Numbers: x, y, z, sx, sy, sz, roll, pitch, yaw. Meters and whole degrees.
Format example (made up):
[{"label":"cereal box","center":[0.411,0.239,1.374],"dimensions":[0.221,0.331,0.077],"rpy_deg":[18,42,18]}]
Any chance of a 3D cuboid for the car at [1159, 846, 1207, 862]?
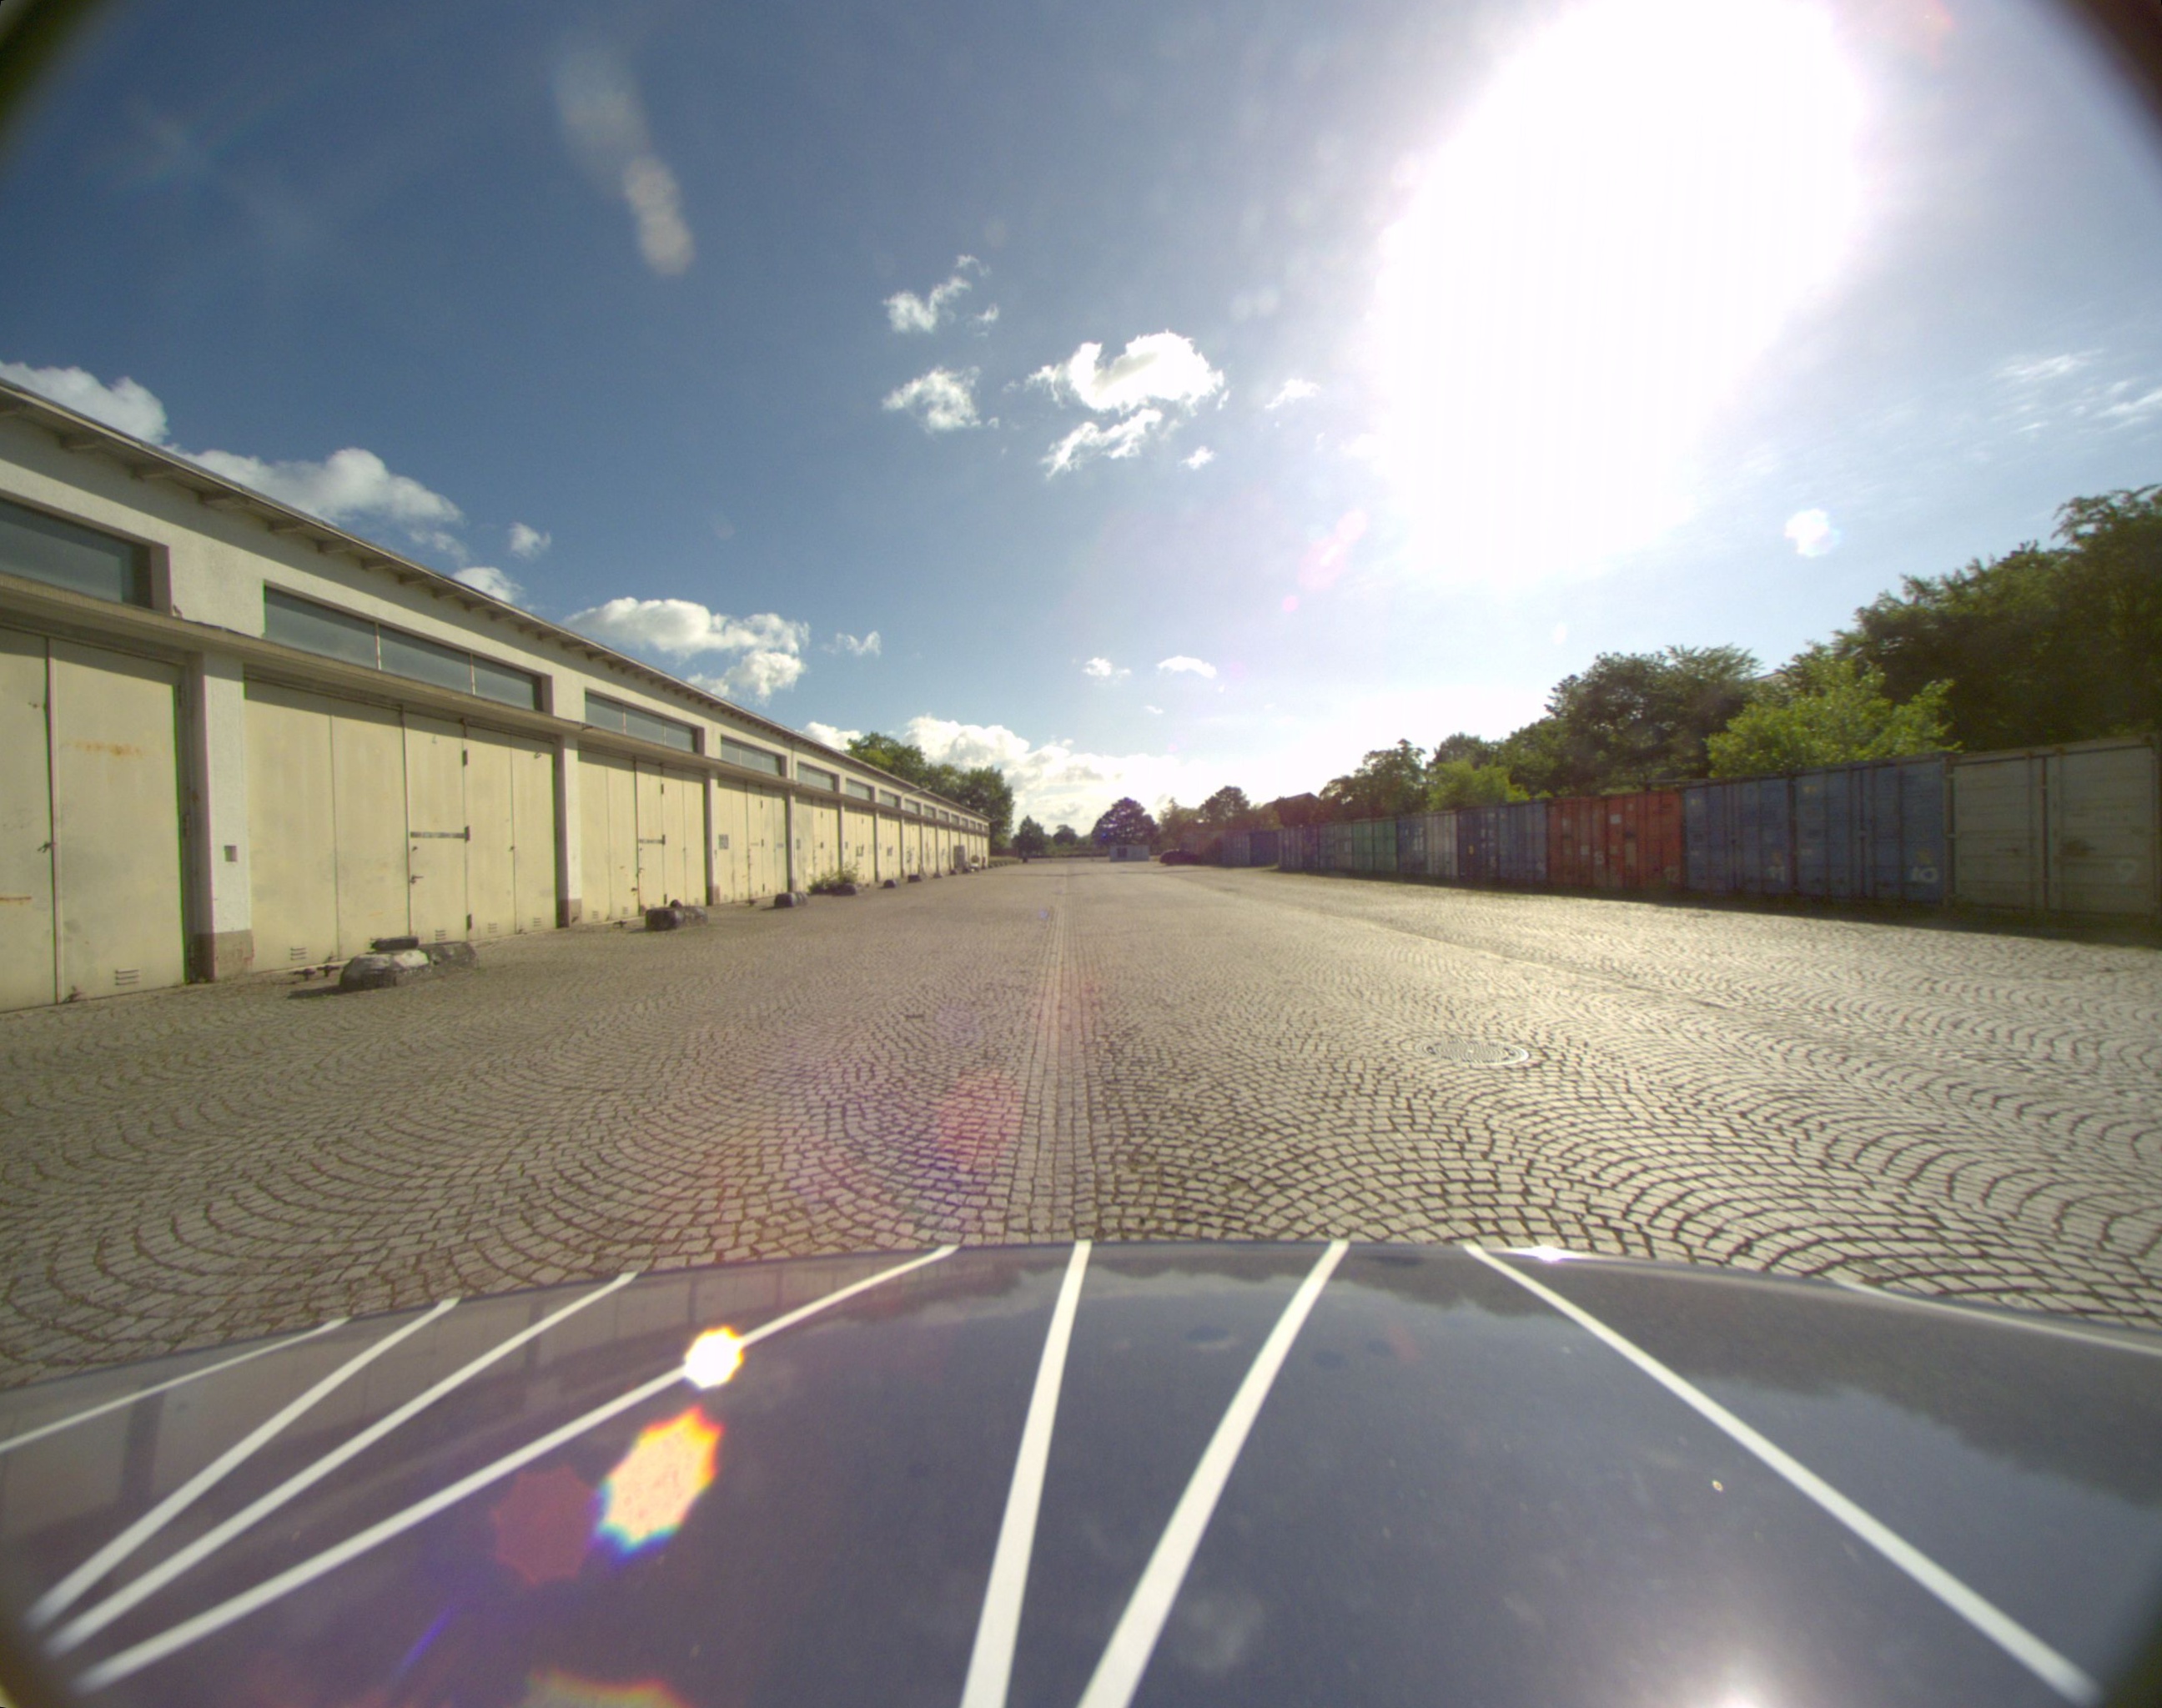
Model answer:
[{"label":"car","center":[9.492,-0.002,71.112],"dimensions":[4.113,1.289,1.999],"rpy_deg":[-3,1,-3]}]
